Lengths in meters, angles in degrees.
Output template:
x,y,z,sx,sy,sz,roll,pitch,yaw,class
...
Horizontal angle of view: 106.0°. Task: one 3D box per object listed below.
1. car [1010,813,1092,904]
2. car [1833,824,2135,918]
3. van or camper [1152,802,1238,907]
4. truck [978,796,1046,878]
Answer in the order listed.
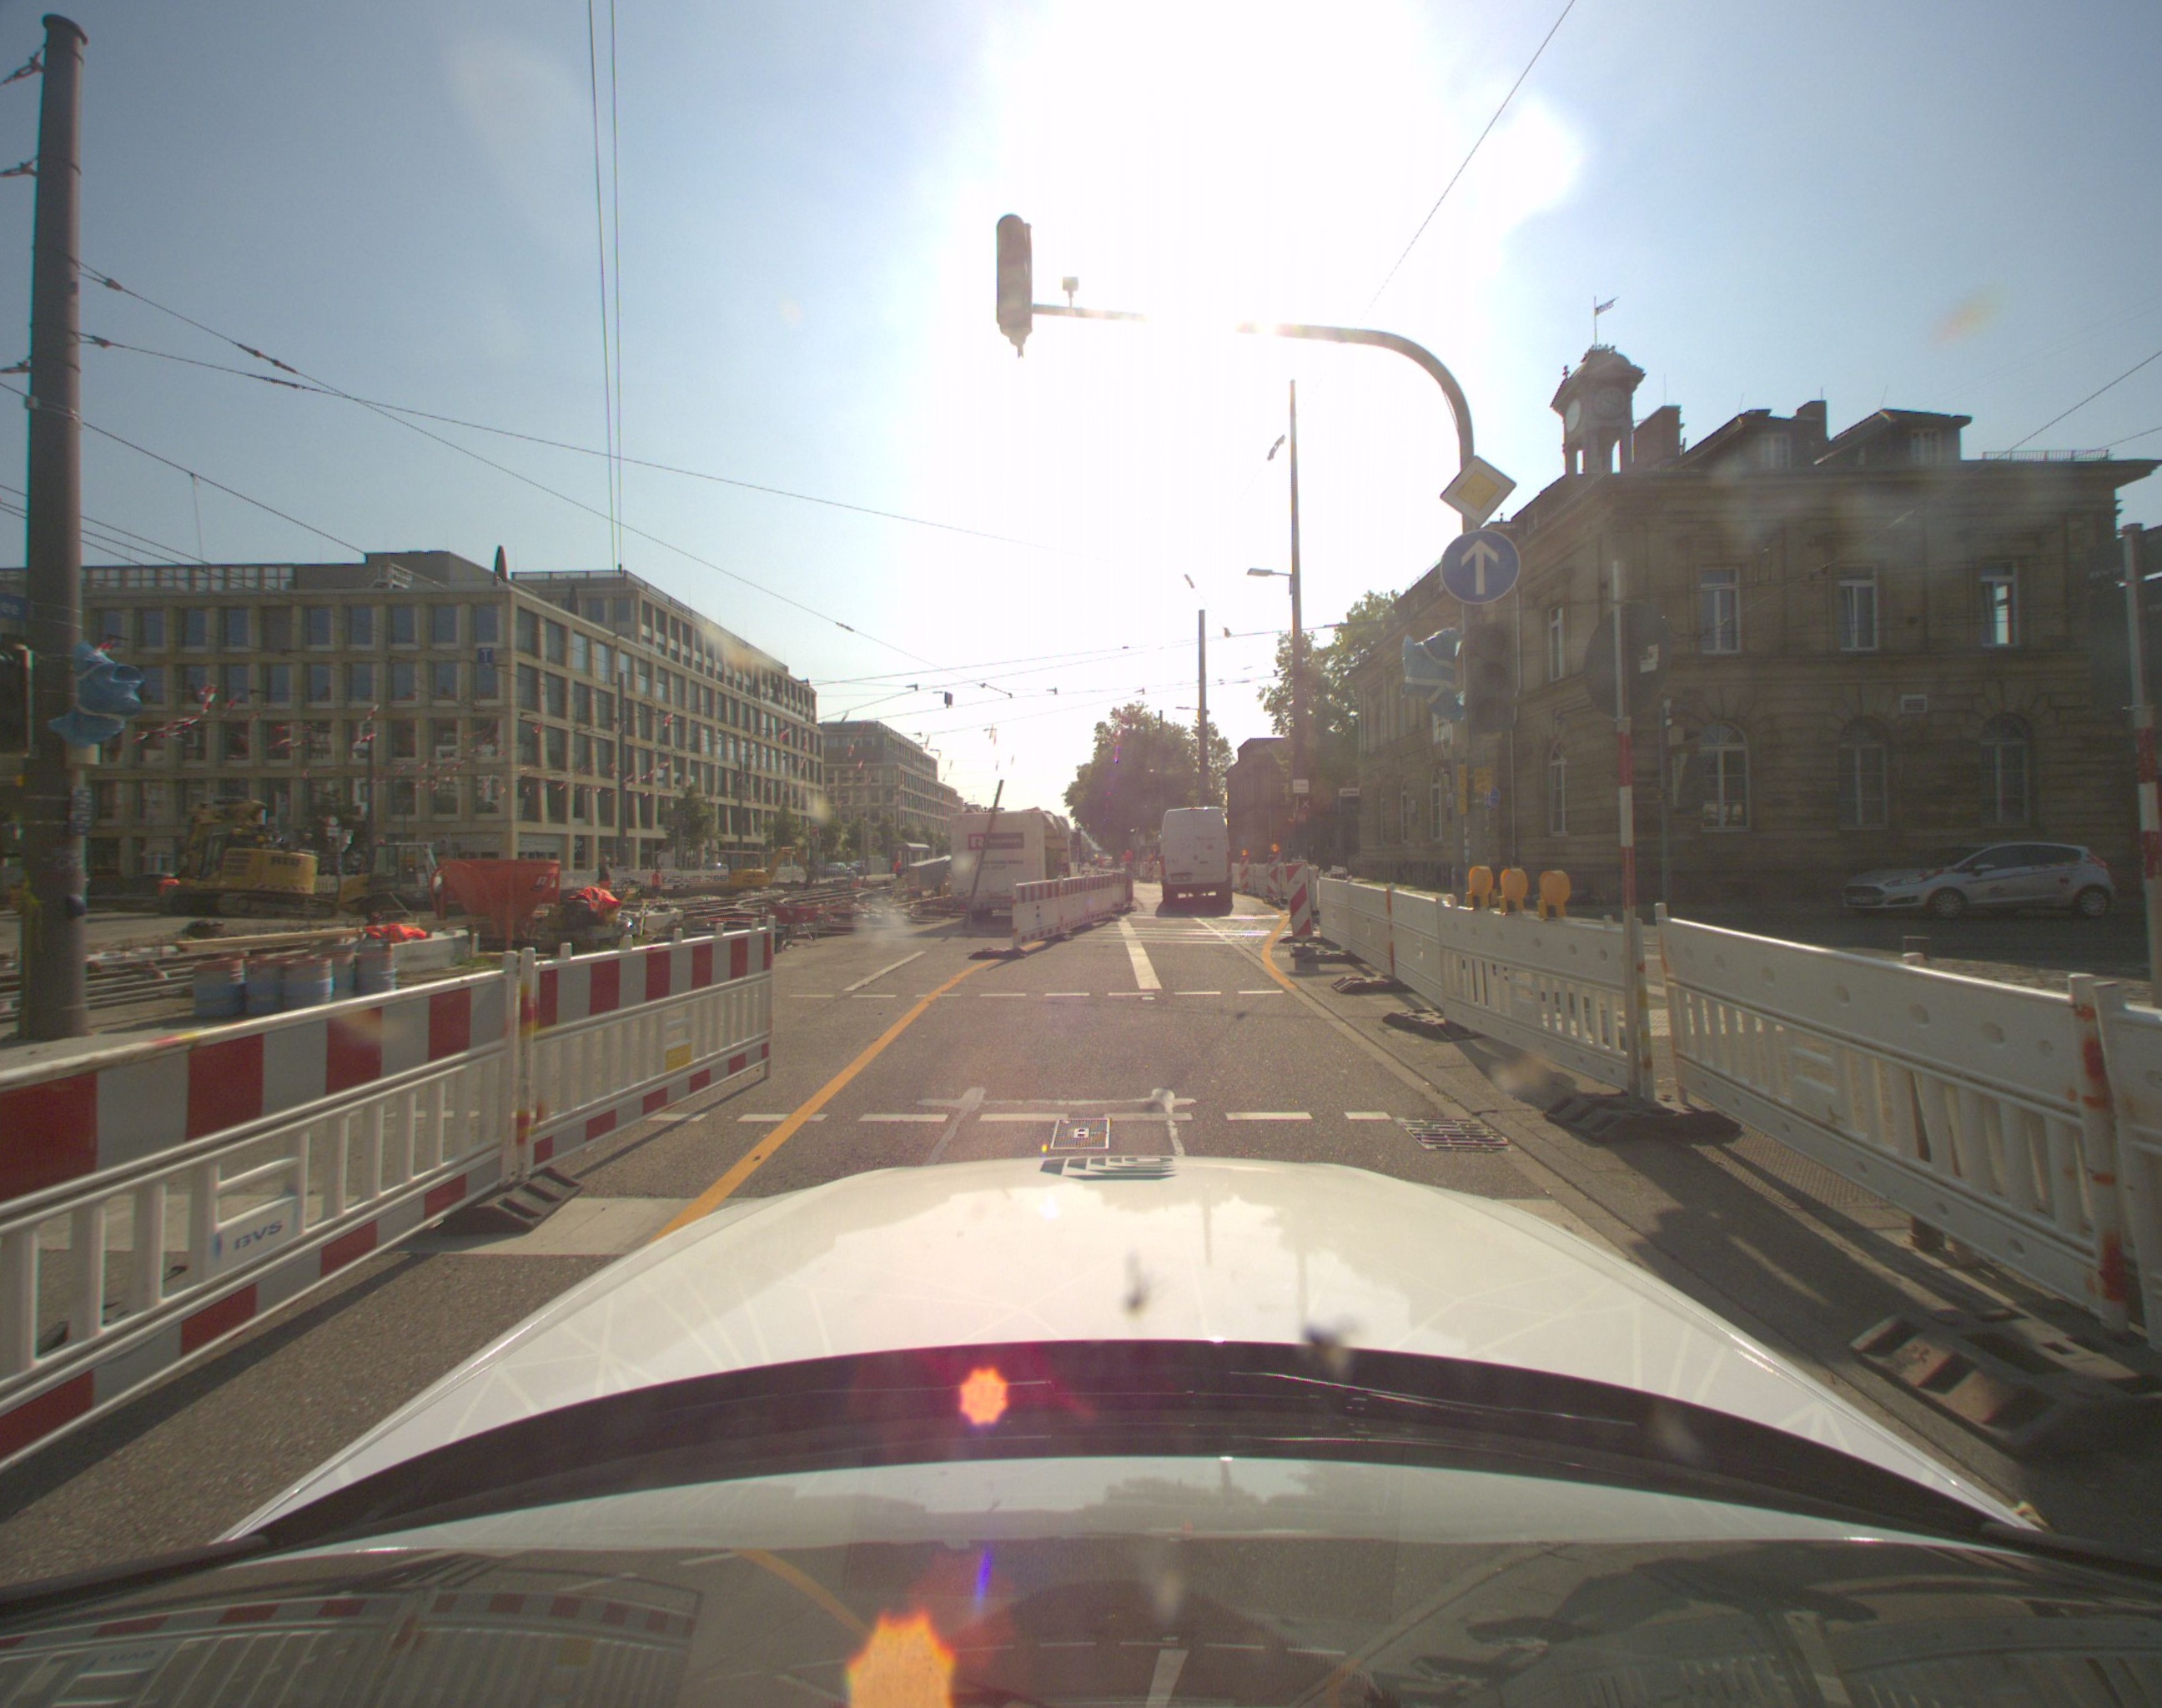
x,y,z,sx,sy,sz,roll,pitch,yaw,class
-0.857,0.172,25.783,2.201,2.424,7.196,-1,-1,-1,car
17.125,0.319,15.574,3.988,1.536,1.664,-2,-1,-2,car
3.299,-0.002,24.191,2.105,2.682,5.259,-3,0,6,van or camper
-3.828,-0.804,43.031,2.793,3.912,8.388,1,0,-10,truck
